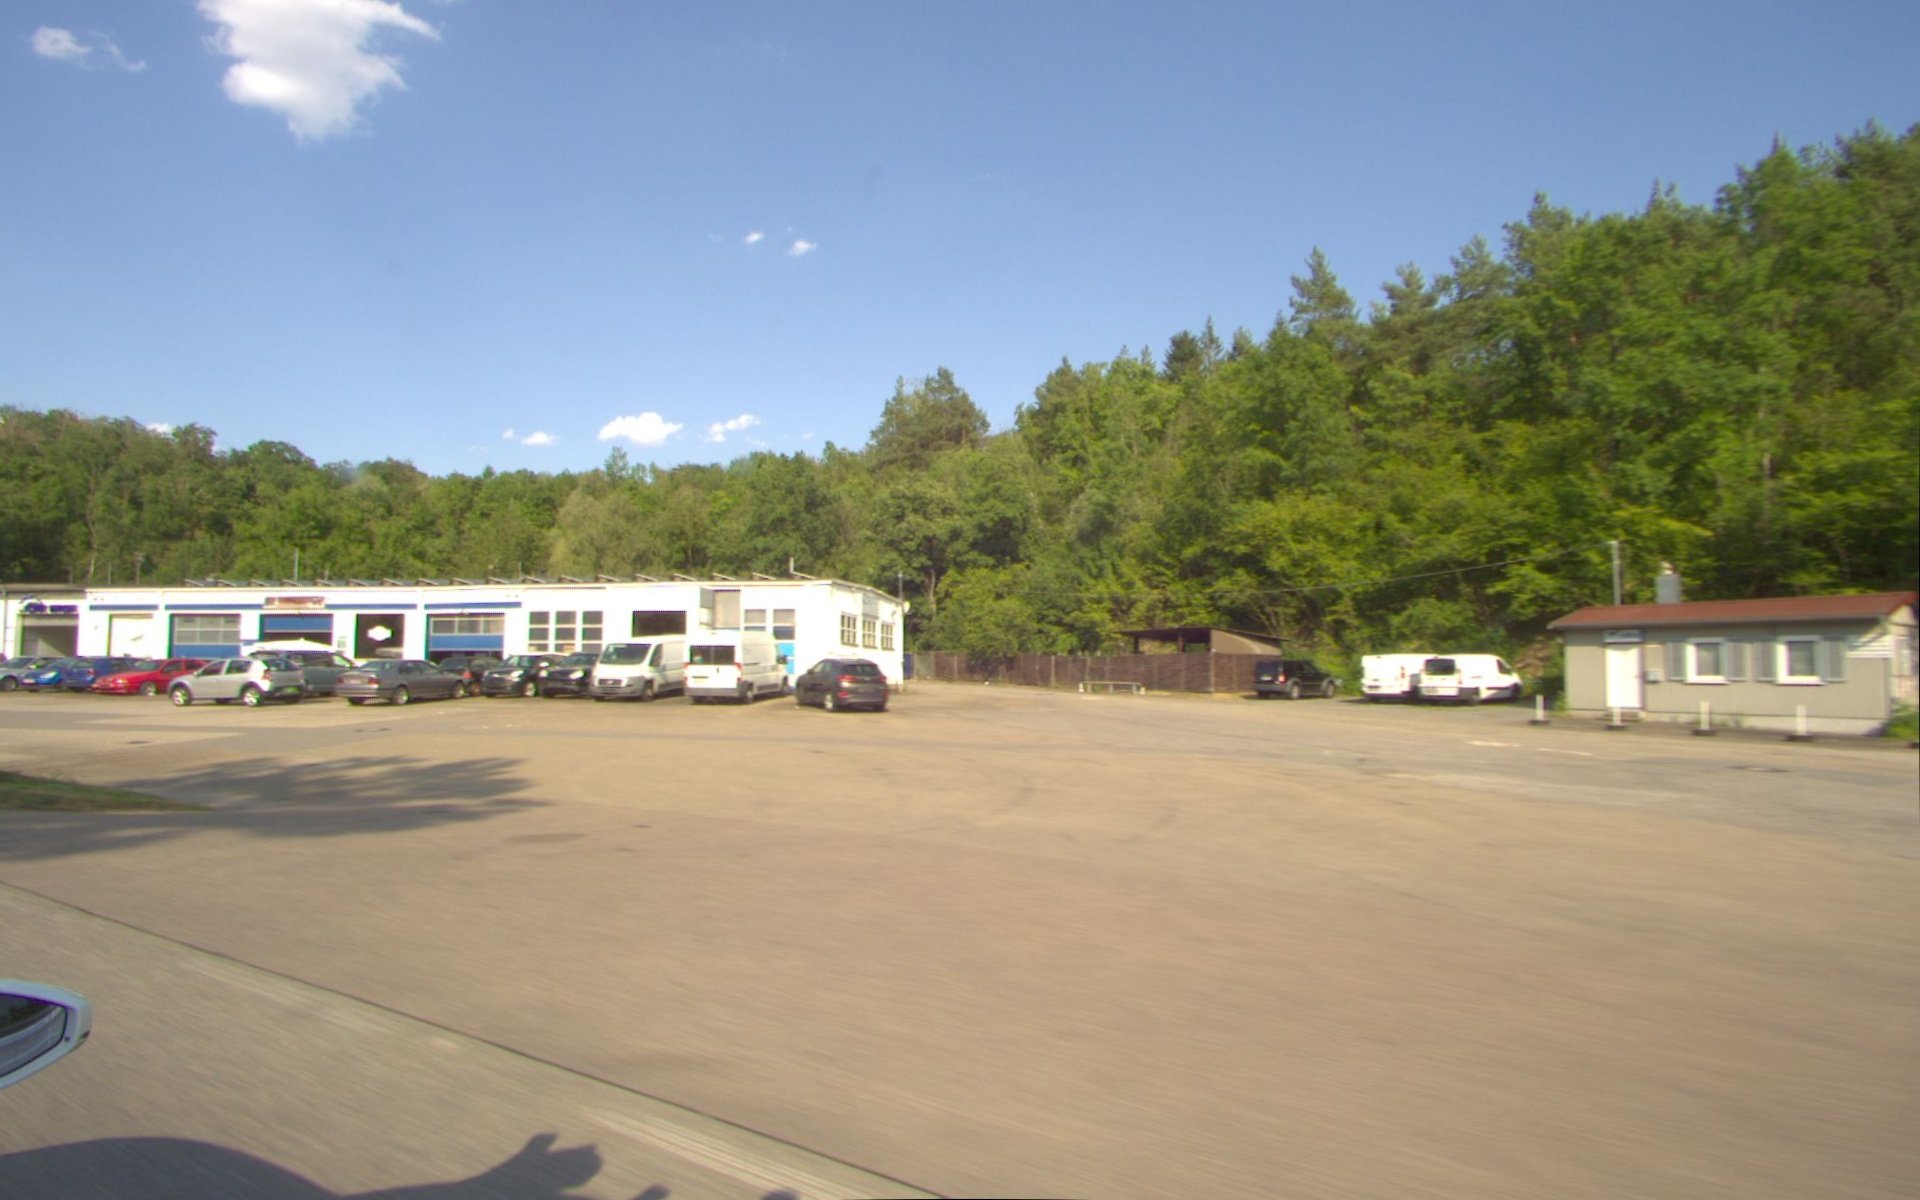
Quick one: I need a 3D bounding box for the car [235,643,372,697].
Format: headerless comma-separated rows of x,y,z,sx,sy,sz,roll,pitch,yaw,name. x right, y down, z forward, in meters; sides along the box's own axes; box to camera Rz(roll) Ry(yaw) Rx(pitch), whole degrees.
-24.116,2.519,36.968,1.855,1.751,4.261,0,-1,8,car

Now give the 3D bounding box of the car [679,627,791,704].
-7.796,2.215,35.225,2.165,2.480,4.924,1,-2,9,car

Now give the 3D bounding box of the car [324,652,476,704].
-18.641,2.568,33.631,1.920,1.452,4.735,0,-1,9,car

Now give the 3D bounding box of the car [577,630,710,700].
-11.372,2.285,36.453,2.252,2.303,5.491,0,-2,11,car

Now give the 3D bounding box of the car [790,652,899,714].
-3.781,2.601,32.118,1.915,1.691,4.383,3,-2,-29,car

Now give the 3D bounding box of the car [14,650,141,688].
-35.808,2.791,40.733,1.659,1.424,3.563,0,-3,11,car

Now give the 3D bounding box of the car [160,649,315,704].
-23.519,2.455,32.642,3.912,1.617,1.796,0,-1,7,car

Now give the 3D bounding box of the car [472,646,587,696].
-15.964,2.585,37.361,1.859,1.631,4.253,0,-1,11,car

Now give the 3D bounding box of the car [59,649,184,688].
-33.715,2.764,40.395,1.701,1.463,3.557,0,-3,11,car

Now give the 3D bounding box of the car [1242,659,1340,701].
14.782,3.514,44.623,4.505,1.695,1.981,2,-3,-38,car

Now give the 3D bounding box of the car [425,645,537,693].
-18.279,2.602,38.421,1.859,1.631,3.999,0,-1,11,car

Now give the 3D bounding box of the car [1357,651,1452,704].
18.057,3.121,40.651,4.055,2.038,1.984,4,-4,-40,car

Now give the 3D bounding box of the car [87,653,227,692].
-31.804,2.835,39.819,1.859,1.365,4.080,1,-2,11,car

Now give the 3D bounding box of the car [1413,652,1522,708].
19.581,3.064,38.581,4.506,2.038,1.986,3,-4,-37,car

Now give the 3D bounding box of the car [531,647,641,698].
-13.566,2.608,36.594,1.888,1.631,4.171,0,-1,11,car

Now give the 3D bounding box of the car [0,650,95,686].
-38.328,2.760,41.221,1.742,1.372,3.971,0,-2,7,car
